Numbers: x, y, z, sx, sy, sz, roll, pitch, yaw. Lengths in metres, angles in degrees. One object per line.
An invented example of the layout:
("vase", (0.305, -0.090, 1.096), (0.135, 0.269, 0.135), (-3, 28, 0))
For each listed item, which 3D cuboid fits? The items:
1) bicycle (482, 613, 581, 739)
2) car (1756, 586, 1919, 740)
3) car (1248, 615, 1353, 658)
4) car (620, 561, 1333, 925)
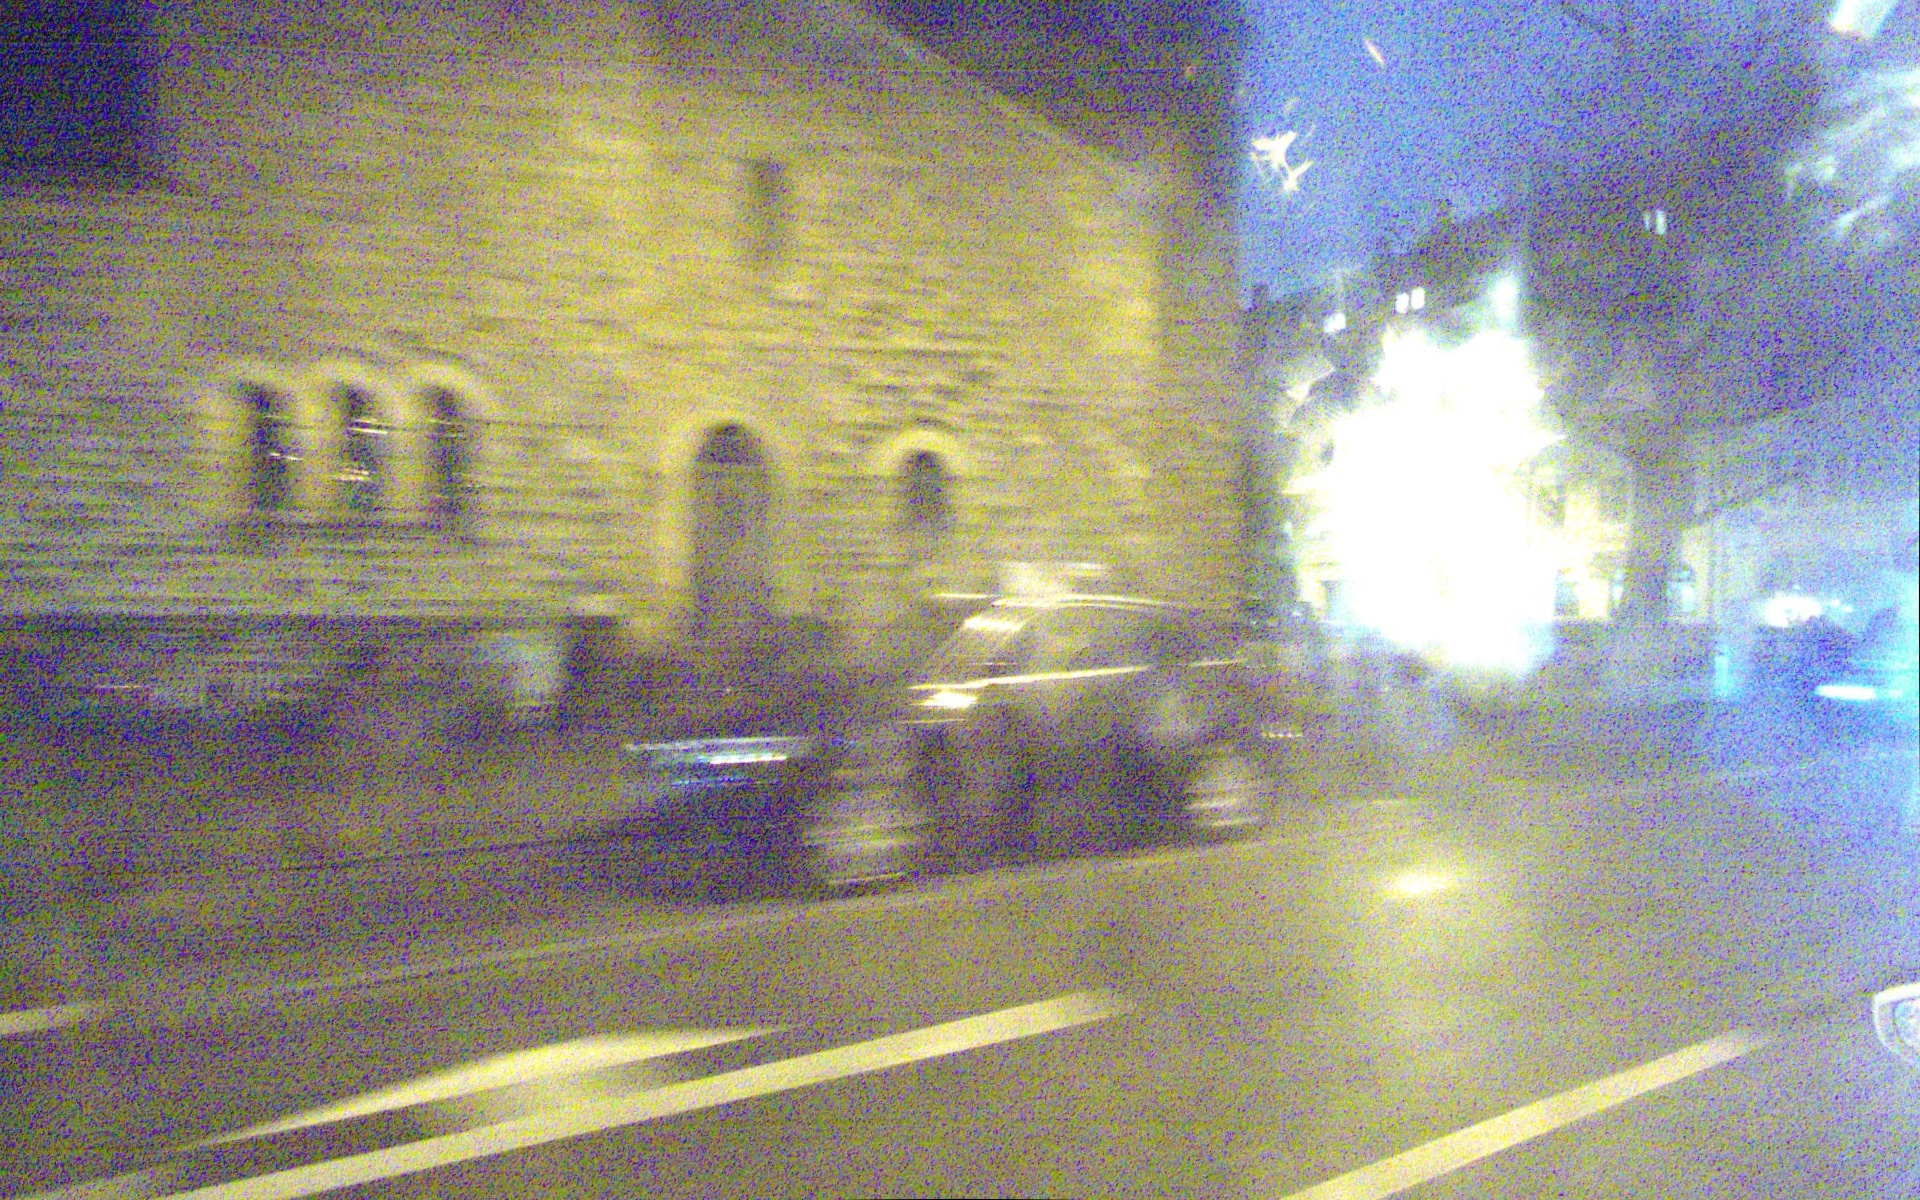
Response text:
("bicycle", (-4.469, 0.741, 10.586), (0.532, 1.196, 1.967), (1, -1, -11))
("car", (13.365, 0.815, 14.005), (4.767, 1.870, 1.859), (1, -1, -29))
("car", (14.579, 1.543, 43.197), (1.834, 1.629, 3.964), (1, 1, -32))
("car", (0.214, 0.694, 6.558), (4.359, 1.692, 1.803), (1, 0, -30))
